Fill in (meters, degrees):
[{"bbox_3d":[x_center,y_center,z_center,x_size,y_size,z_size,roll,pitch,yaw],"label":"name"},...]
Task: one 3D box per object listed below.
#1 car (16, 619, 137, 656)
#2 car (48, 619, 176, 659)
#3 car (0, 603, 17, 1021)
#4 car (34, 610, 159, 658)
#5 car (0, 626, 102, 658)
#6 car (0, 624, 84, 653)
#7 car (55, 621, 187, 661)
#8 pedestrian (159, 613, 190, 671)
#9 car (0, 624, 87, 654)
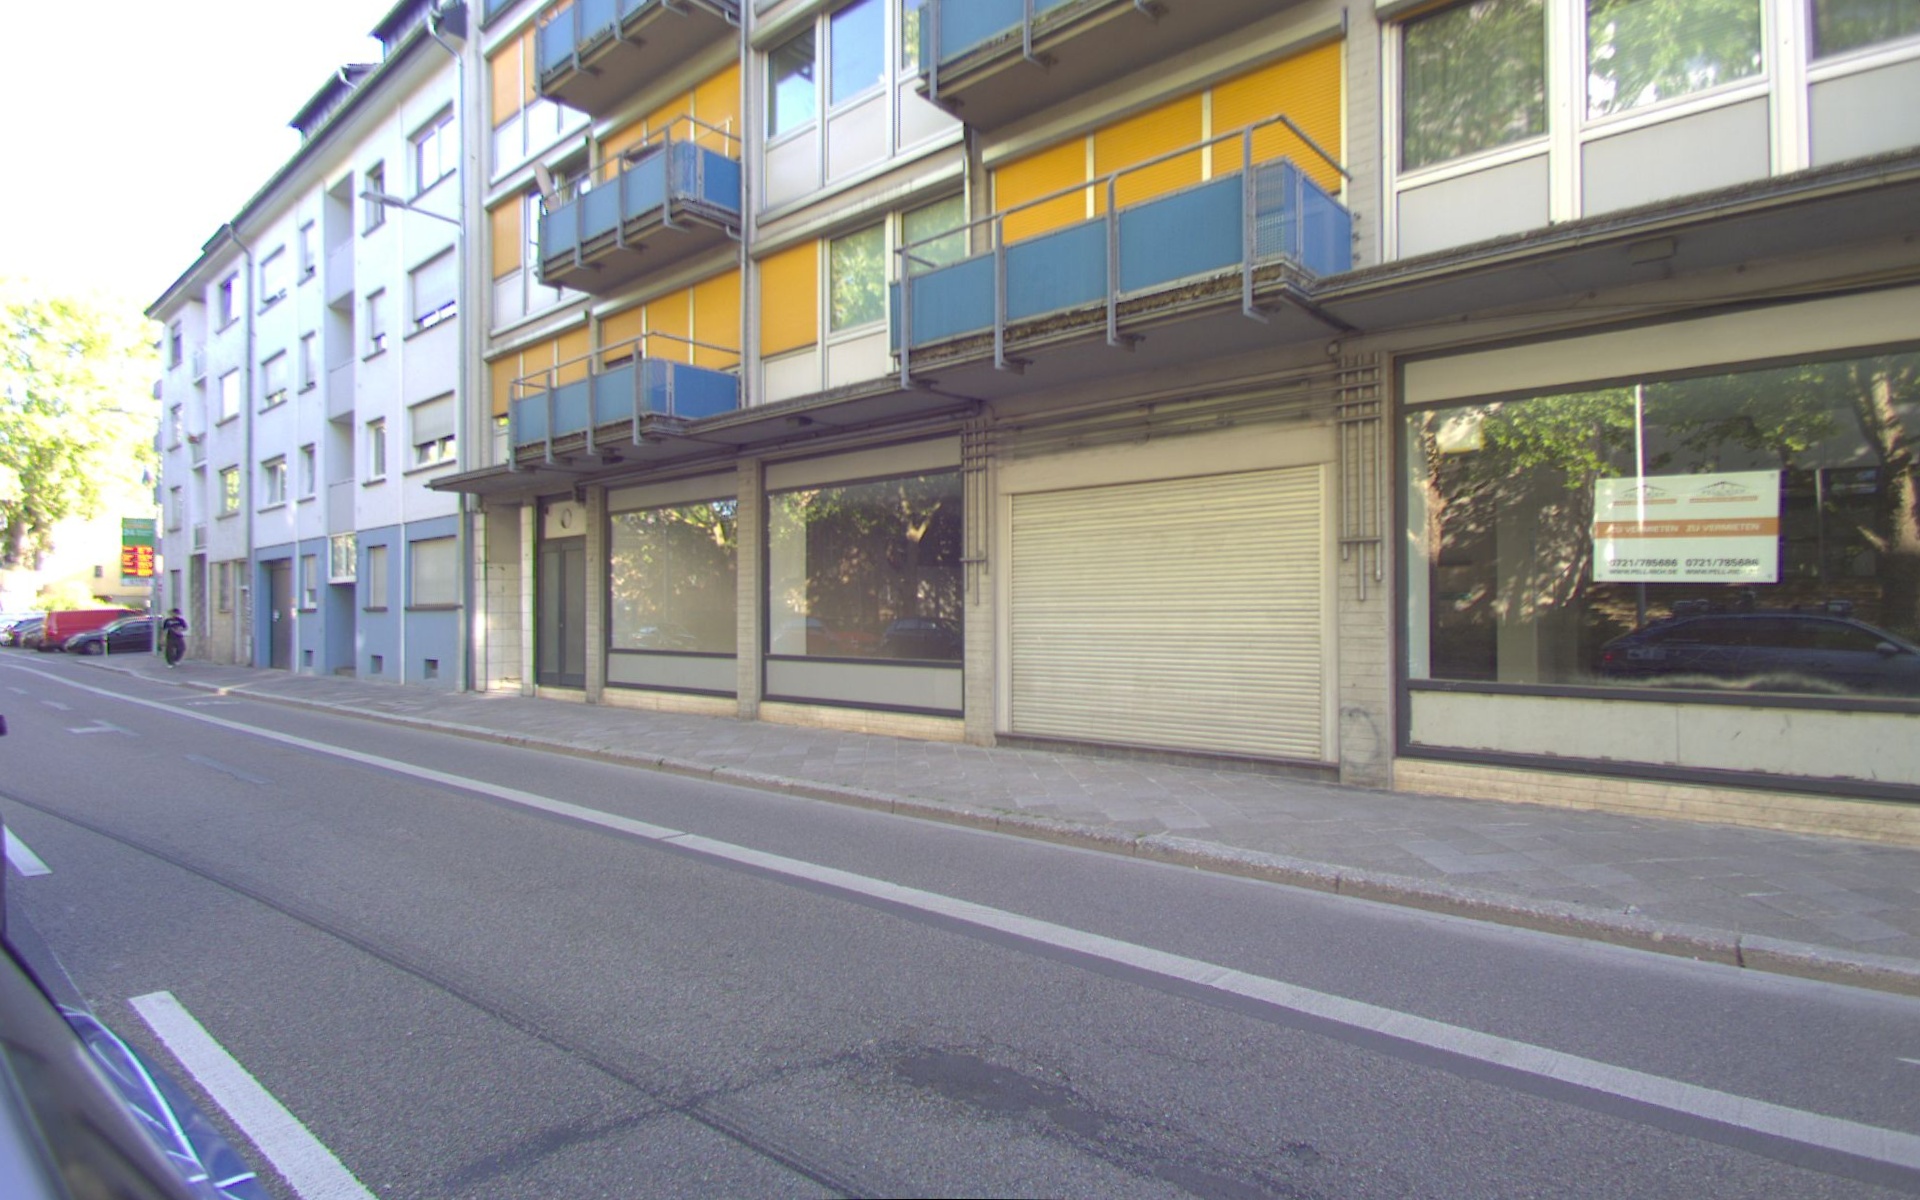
[{"bbox_3d":[-42.760,1.788,49.027,1.652,1.480,4.201,-1,1,41],"label":"car"},{"bbox_3d":[-38.191,1.729,45.669,1.652,1.480,4.201,-1,1,41],"label":"car"},{"bbox_3d":[-5.650,0.798,4.415,4.300,1.510,1.826,-1,-1,41],"label":"car"},{"bbox_3d":[-40.572,1.556,47.632,1.817,1.933,4.202,-1,1,40],"label":"car"},{"bbox_3d":[-50.467,2.290,56.118,1.652,1.480,4.201,-1,1,41],"label":"car"},{"bbox_3d":[-55.881,2.296,61.211,1.652,1.480,4.201,-1,1,41],"label":"car"},{"bbox_3d":[-36.498,1.742,44.106,1.652,1.411,4.201,-1,1,41],"label":"car"},{"bbox_3d":[-23.354,1.242,30.093,0.655,1.708,0.604,-2,-1,41],"label":"pedestrian"},{"bbox_3d":[-54.499,2.276,59.804,1.652,1.480,4.201,-1,1,41],"label":"car"}]
